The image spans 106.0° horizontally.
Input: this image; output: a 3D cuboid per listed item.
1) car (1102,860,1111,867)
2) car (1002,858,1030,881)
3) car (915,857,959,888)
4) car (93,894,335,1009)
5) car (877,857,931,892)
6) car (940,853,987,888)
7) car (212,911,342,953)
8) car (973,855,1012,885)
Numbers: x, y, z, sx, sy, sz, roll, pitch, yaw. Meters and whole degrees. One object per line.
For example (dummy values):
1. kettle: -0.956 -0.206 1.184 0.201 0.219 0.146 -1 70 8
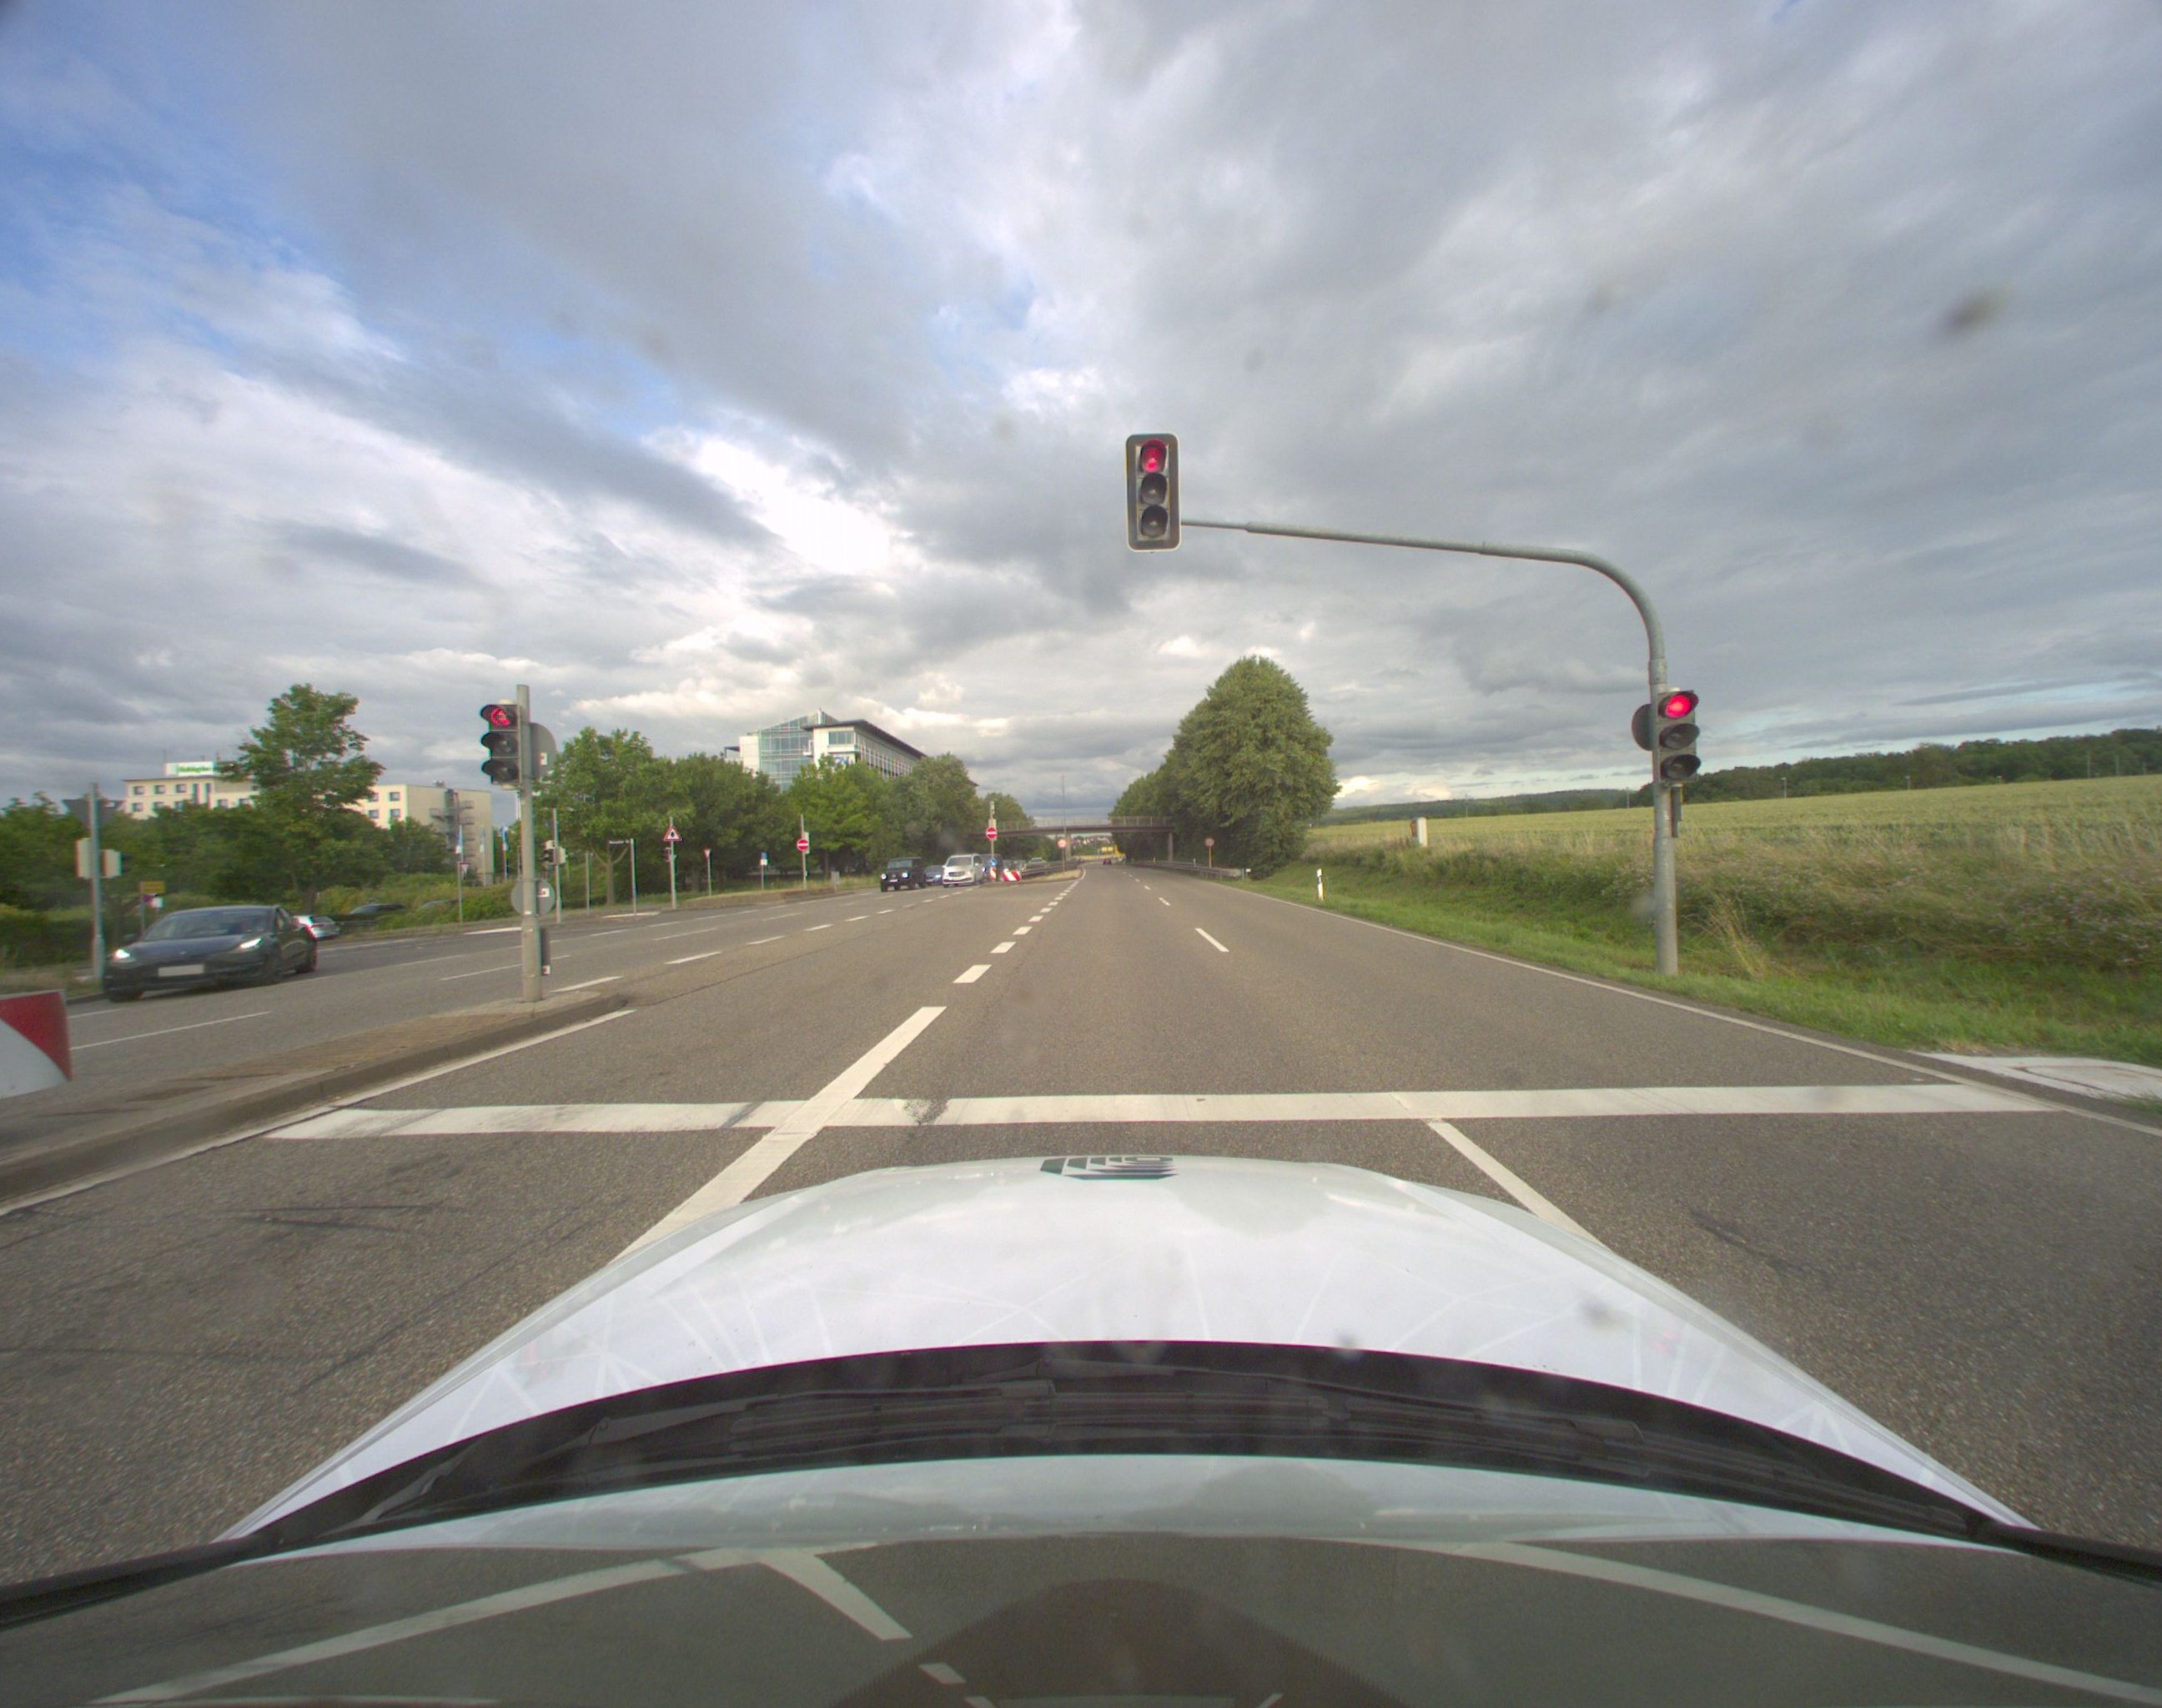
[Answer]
1. car: 5.789 2.119 183.250 1.874 1.552 3.998 0 -1 -1
2. car: -6.001 1.412 75.955 2.076 2.014 5.216 0 -1 1
3. car: -10.026 1.258 57.148 2.076 2.014 5.216 0 -1 1
4. car: -15.207 1.585 14.616 1.930 1.456 4.327 -6 2 -34
5. car: -10.722 1.194 49.659 2.076 2.014 5.216 0 -1 1
6. car: -7.102 0.970 49.686 2.076 2.014 5.216 0 -1 1
7. car: -36.038 3.462 36.598 3.749 1.342 1.577 -5 0 -18
8. car: -6.185 1.078 57.405 2.076 2.014 5.216 0 -1 1
